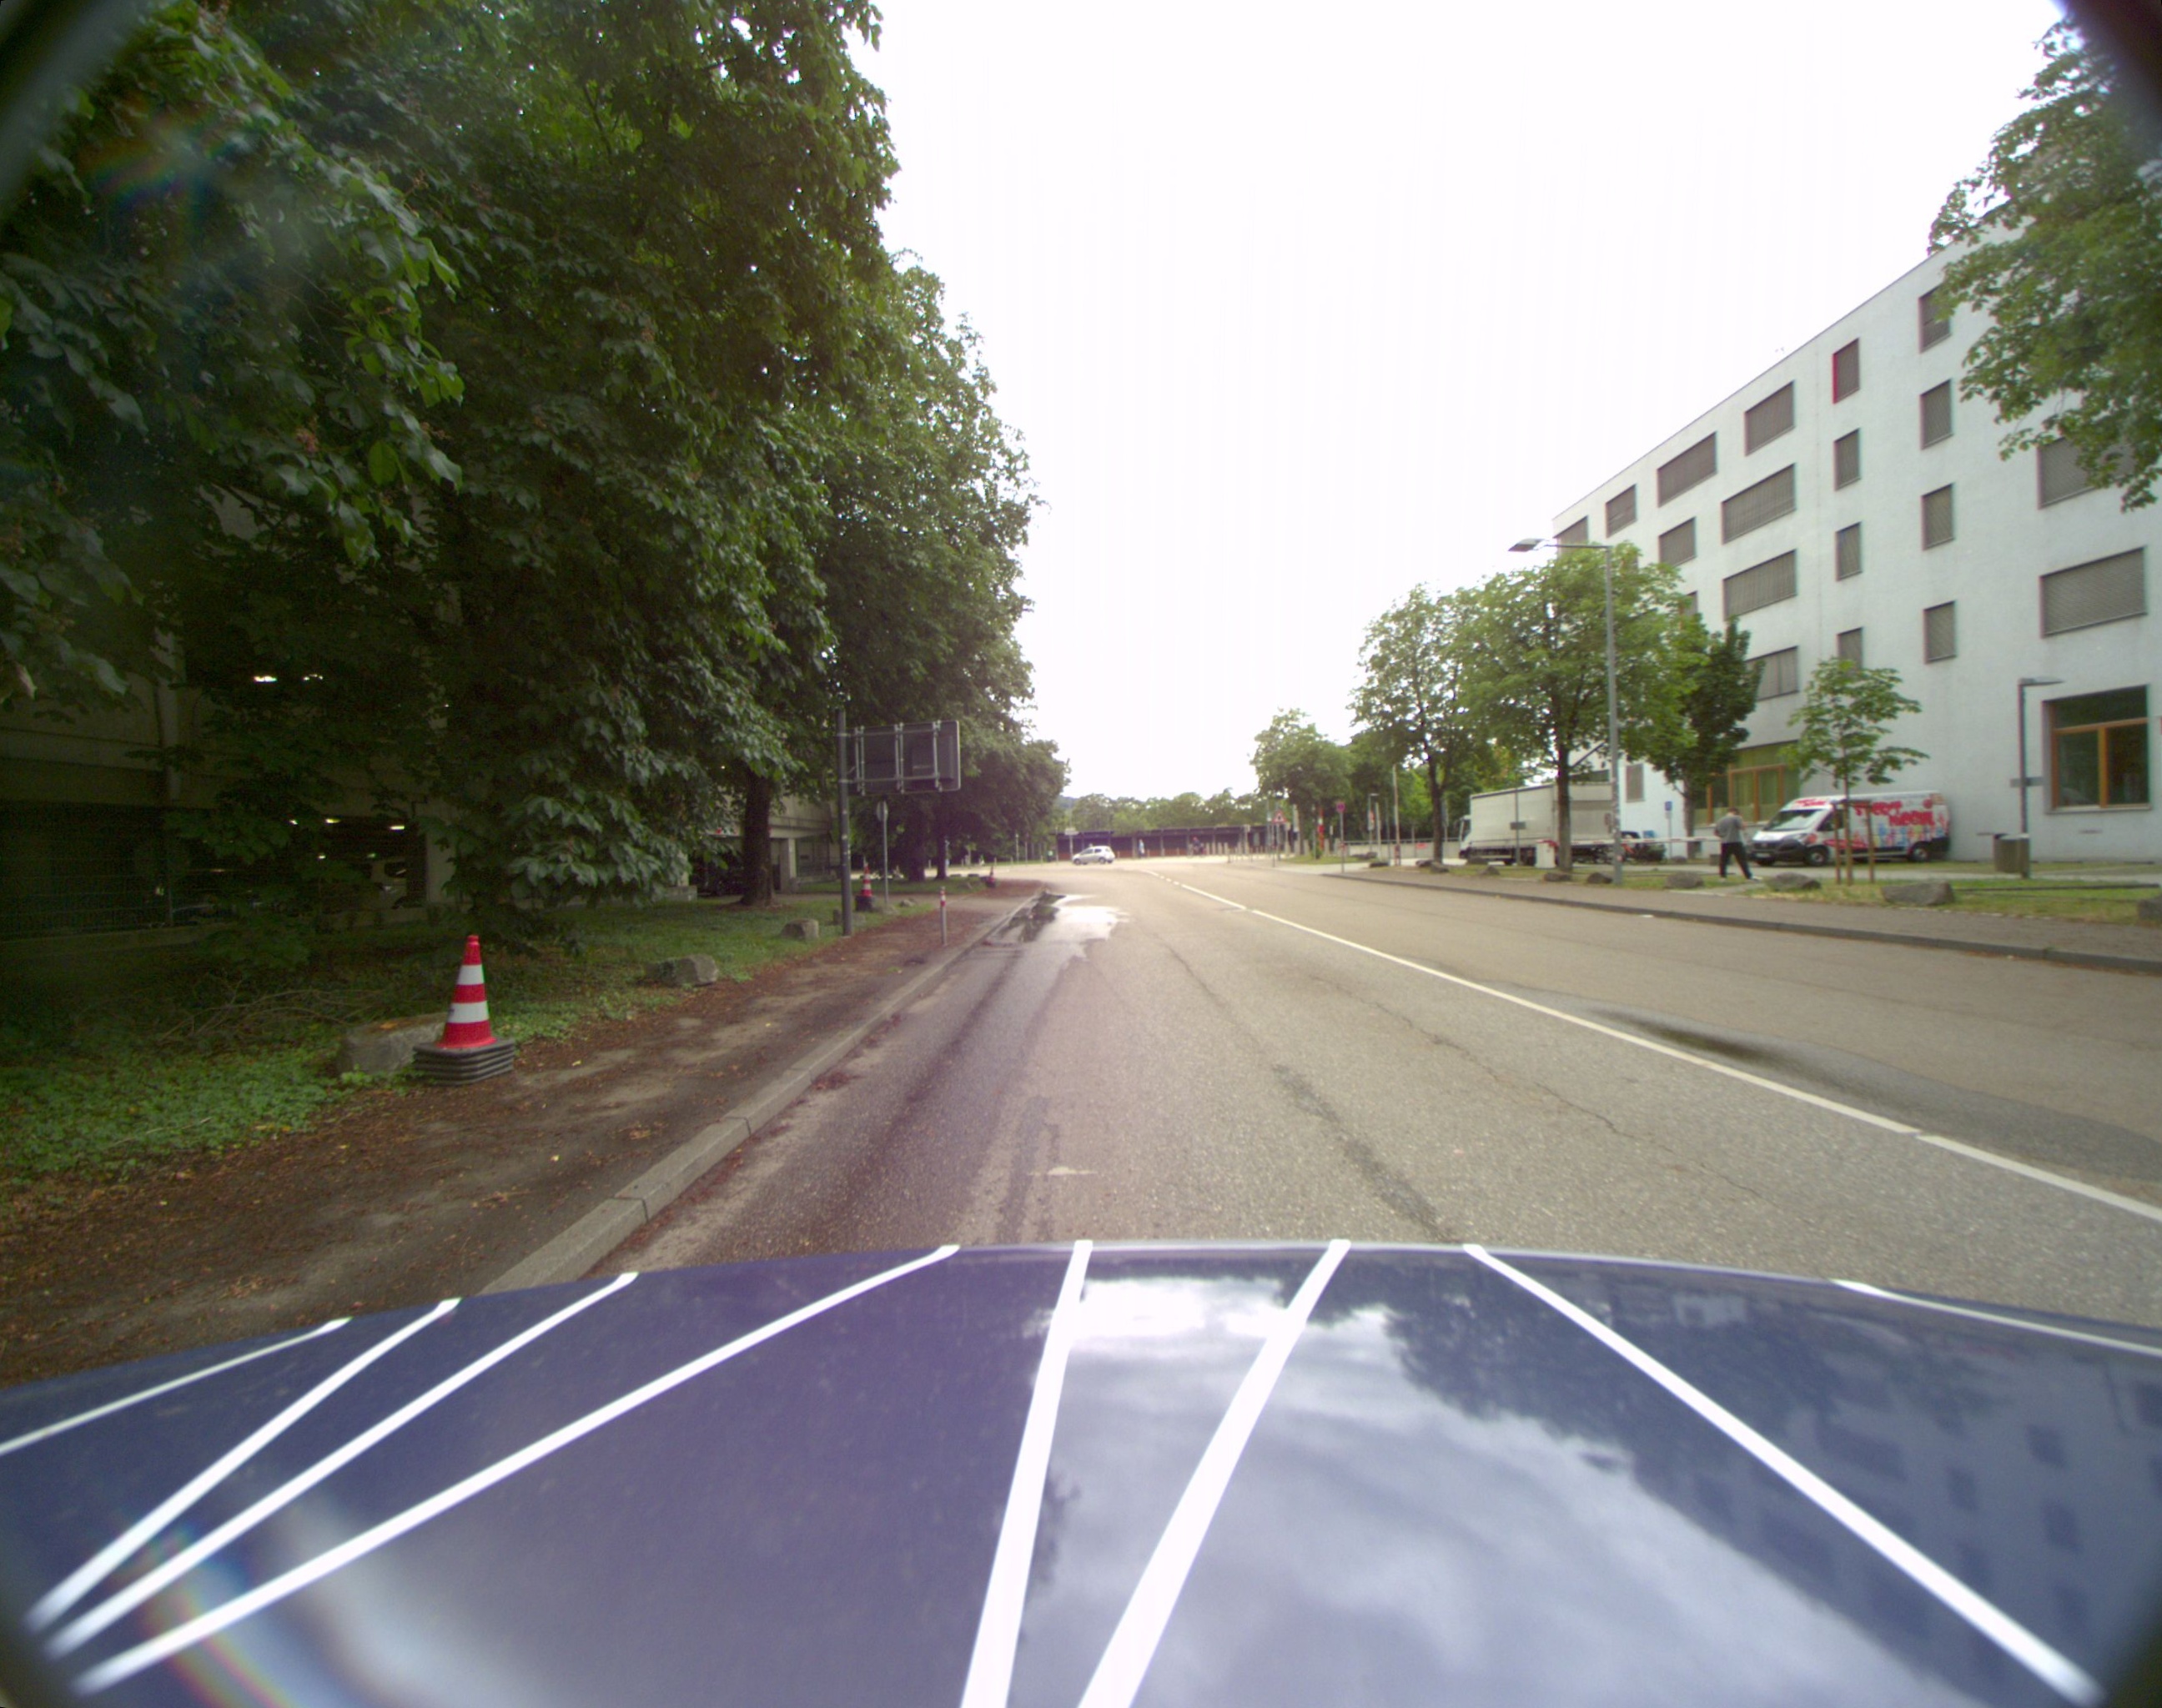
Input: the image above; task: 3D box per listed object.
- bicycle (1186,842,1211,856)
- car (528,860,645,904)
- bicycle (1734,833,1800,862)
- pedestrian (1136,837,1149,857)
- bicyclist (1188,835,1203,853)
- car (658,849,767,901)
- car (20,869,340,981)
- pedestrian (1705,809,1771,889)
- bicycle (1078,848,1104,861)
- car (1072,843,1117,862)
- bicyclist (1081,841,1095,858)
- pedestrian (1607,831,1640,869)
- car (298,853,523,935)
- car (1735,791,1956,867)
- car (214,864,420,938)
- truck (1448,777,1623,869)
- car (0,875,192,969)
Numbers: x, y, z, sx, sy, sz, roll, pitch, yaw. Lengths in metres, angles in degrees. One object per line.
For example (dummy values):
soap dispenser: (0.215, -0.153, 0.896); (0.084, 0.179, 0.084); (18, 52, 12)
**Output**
bicycle: (10.652, -0.432, 68.759); (2.050, 1.137, 0.777); (-3, 3, -3)
car: (-20.017, 1.079, 30.990); (1.876, 1.445, 4.000); (-3, 2, 4)
bicycle: (27.611, -0.257, 30.591); (2.029, 1.064, 0.613); (-3, 2, 4)
pedestrian: (5.881, -0.706, 72.591); (1.200, 1.824, 0.927); (-3, 3, 4)
bicyclist: (10.393, -0.910, 68.732); (1.101, 1.487, 0.927); (-3, 3, -4)
car: (-14.665, 0.765, 30.577); (1.924, 1.824, 4.735); (-3, 1, 0)
car: (-17.483, 1.269, 15.089); (1.589, 1.699, 3.856); (-3, 2, 1)
pedestrian: (14.230, -0.110, 16.462); (0.847, 1.662, 0.785); (-4, 2, -24)
bicycle: (0.918, 0.043, 68.281); (2.257, 1.117, 0.748); (-3, 2, -3)
car: (1.154, -0.120, 64.884); (3.494, 1.448, 1.609); (-2, 2, 29)
bicyclist: (0.596, -0.411, 68.259); (1.159, 1.422, 0.742); (-3, 2, -3)
pedestrian: (23.233, -0.175, 32.557); (0.679, 1.597, 0.887); (-3, 2, -7)
car: (-17.258, 0.938, 19.956); (1.589, 1.699, 4.666); (-3, 2, 1)
car: (26.595, -0.862, 26.573); (5.640, 2.266, 2.078); (-3, 2, 0)
car: (-20.273, 1.174, 20.417); (1.721, 1.577, 3.690); (-3, 2, -1)
truck: (20.374, -1.338, 34.872); (2.684, 3.580, 8.361); (-3, 2, -2)
car: (-20.381, 1.325, 14.772); (1.721, 1.537, 3.700); (-3, 2, -1)
